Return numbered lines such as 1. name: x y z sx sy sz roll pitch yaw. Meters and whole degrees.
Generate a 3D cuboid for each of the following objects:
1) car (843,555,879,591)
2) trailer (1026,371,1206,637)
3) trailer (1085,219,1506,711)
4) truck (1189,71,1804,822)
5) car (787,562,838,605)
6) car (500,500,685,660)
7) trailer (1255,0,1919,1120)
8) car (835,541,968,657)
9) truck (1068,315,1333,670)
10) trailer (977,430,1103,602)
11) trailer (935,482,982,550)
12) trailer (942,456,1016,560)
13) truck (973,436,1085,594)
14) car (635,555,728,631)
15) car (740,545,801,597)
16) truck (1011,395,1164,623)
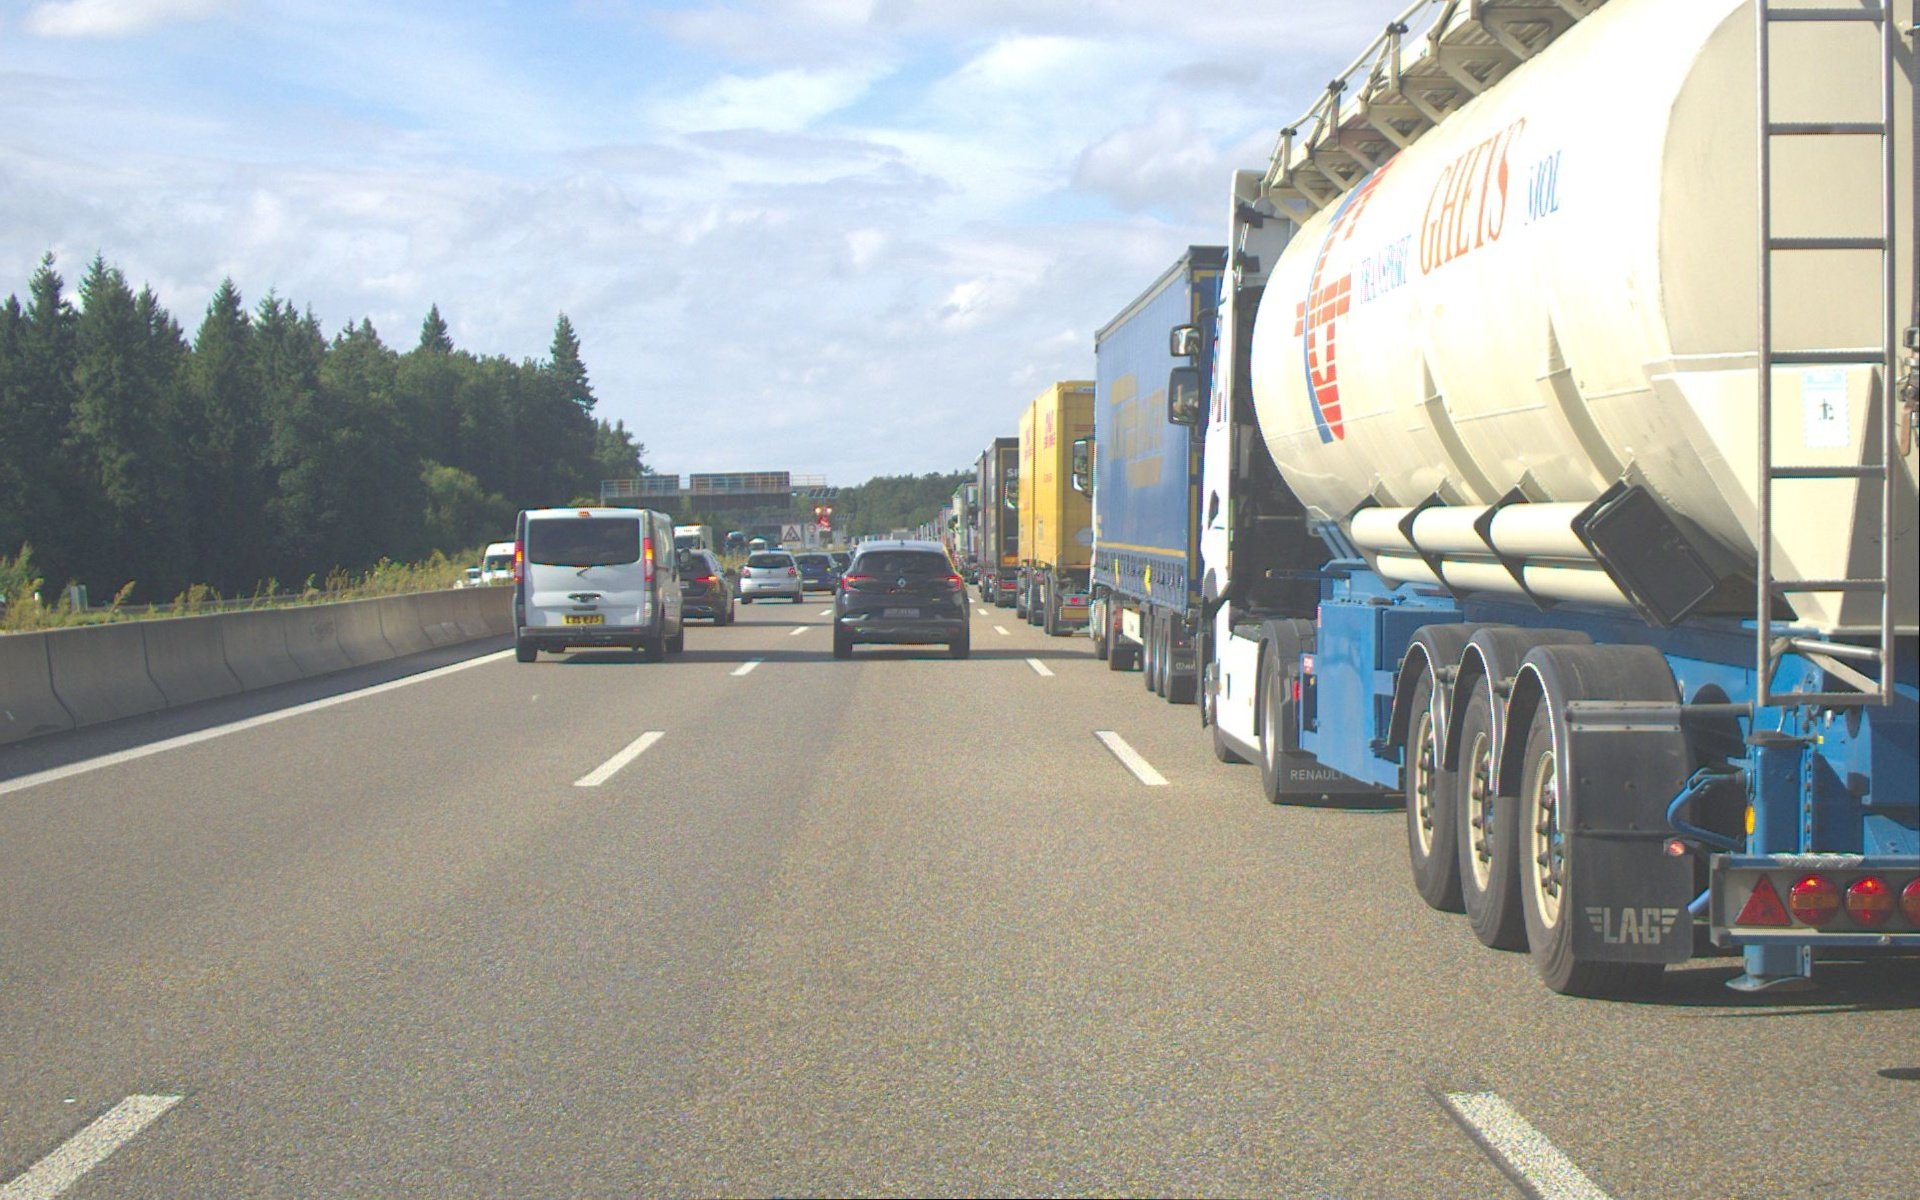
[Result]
1. car: -3.938 -1.071 136.573 1.361 1.391 3.085 1 1 -1
2. trailer: 2.482 -1.555 57.232 2.412 4.054 8.927 1 1 -1
3. trailer: 3.065 -1.208 35.772 2.642 4.084 13.981 1 1 -1
4. truck: 3.048 -0.843 21.527 2.649 3.911 6.942 1 1 -1
5. car: -4.906 -0.556 114.672 1.581 1.391 3.208 1 1 -1
6. car: -4.790 -0.277 45.479 1.933 1.972 5.099 1 1 -1
7. trailer: 3.110 -0.732 14.291 2.646 3.921 11.175 1 1 -1
8. car: -0.771 -0.036 46.108 1.696 1.478 4.160 1 1 -1
9. truck: 2.886 -1.280 43.053 2.648 4.075 6.492 1 1 -2
10. trailer: 1.884 -2.050 84.228 2.716 3.947 8.712 1 1 -1
11. trailer: -0.087 -5.472 226.368 2.802 4.229 11.057 -3 1 0
12. trailer: 0.700 -3.603 138.293 2.661 3.855 13.395 -2 1 0
13. truck: 1.797 -2.245 93.642 2.740 4.024 10.203 1 1 0
14. car: -5.249 -0.153 65.100 1.500 1.391 3.476 1 1 -1
15. car: -5.214 -0.800 94.826 1.500 1.391 3.476 1 1 -1
16. truck: 2.359 -1.716 66.557 2.412 4.054 9.665 1 1 -1
